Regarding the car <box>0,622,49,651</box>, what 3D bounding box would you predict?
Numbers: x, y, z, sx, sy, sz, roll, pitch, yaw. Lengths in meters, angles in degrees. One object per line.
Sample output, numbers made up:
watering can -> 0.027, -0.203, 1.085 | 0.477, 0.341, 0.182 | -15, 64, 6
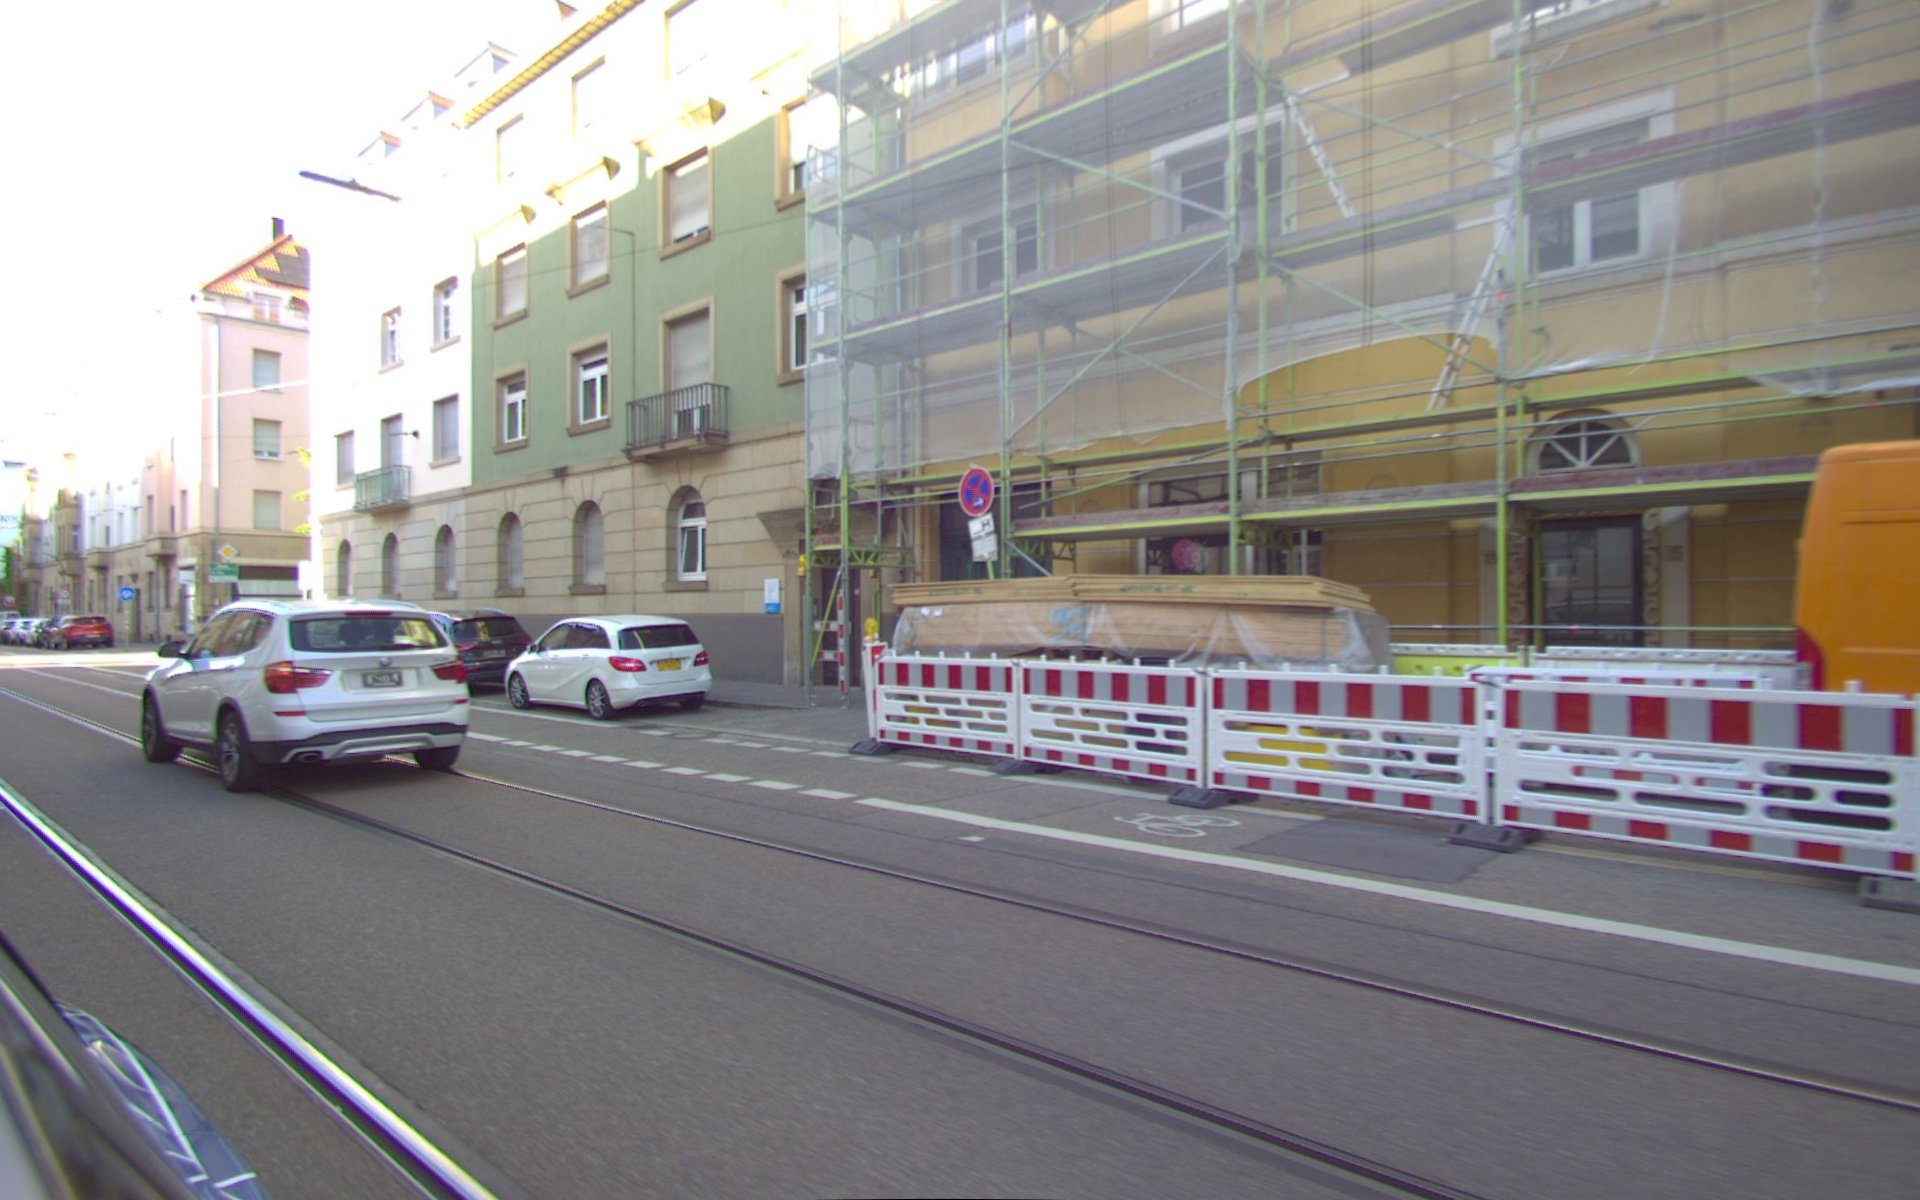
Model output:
car -> -53.523, 2.044, 57.762 | 3.767, 1.514, 1.776 | -1, 1, 40

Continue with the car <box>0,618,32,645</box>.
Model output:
car -> -57.444, 1.895, 60.965 | 3.767, 1.514, 1.776 | -1, 1, 40

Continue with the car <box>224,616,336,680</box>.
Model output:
car -> -18.479, 1.248, 27.445 | 3.770, 1.622, 1.774 | -1, -1, 44

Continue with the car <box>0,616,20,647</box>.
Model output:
car -> -64.467, 2.068, 67.608 | 3.997, 2.029, 1.973 | -1, -2, 41

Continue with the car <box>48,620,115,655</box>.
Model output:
car -> -41.394, 1.729, 47.660 | 3.766, 1.514, 1.776 | -1, 1, 40

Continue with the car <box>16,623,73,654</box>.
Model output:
car -> -49.333, 2.024, 54.495 | 3.767, 1.514, 1.776 | -1, 1, 40

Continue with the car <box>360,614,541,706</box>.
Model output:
car -> -10.240, 1.118, 20.221 | 4.219, 1.590, 1.681 | -1, 1, 40

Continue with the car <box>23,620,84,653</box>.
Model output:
car -> -45.535, 1.803, 50.825 | 3.767, 1.514, 1.776 | -1, 1, 40

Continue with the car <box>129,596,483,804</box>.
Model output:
car -> -6.549, 0.827, 9.952 | 4.290, 1.619, 1.749 | -1, -2, 40

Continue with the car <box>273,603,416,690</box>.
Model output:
car -> -14.724, 1.049, 24.149 | 3.766, 1.860, 1.776 | -1, 1, 40

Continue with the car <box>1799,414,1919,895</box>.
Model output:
car -> 7.543, 0.260, 4.344 | 5.997, 2.488, 2.097 | -1, -2, 41

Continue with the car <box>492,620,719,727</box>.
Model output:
car -> -5.808, 1.093, 16.354 | 3.998, 1.523, 1.728 | -1, -2, 41
